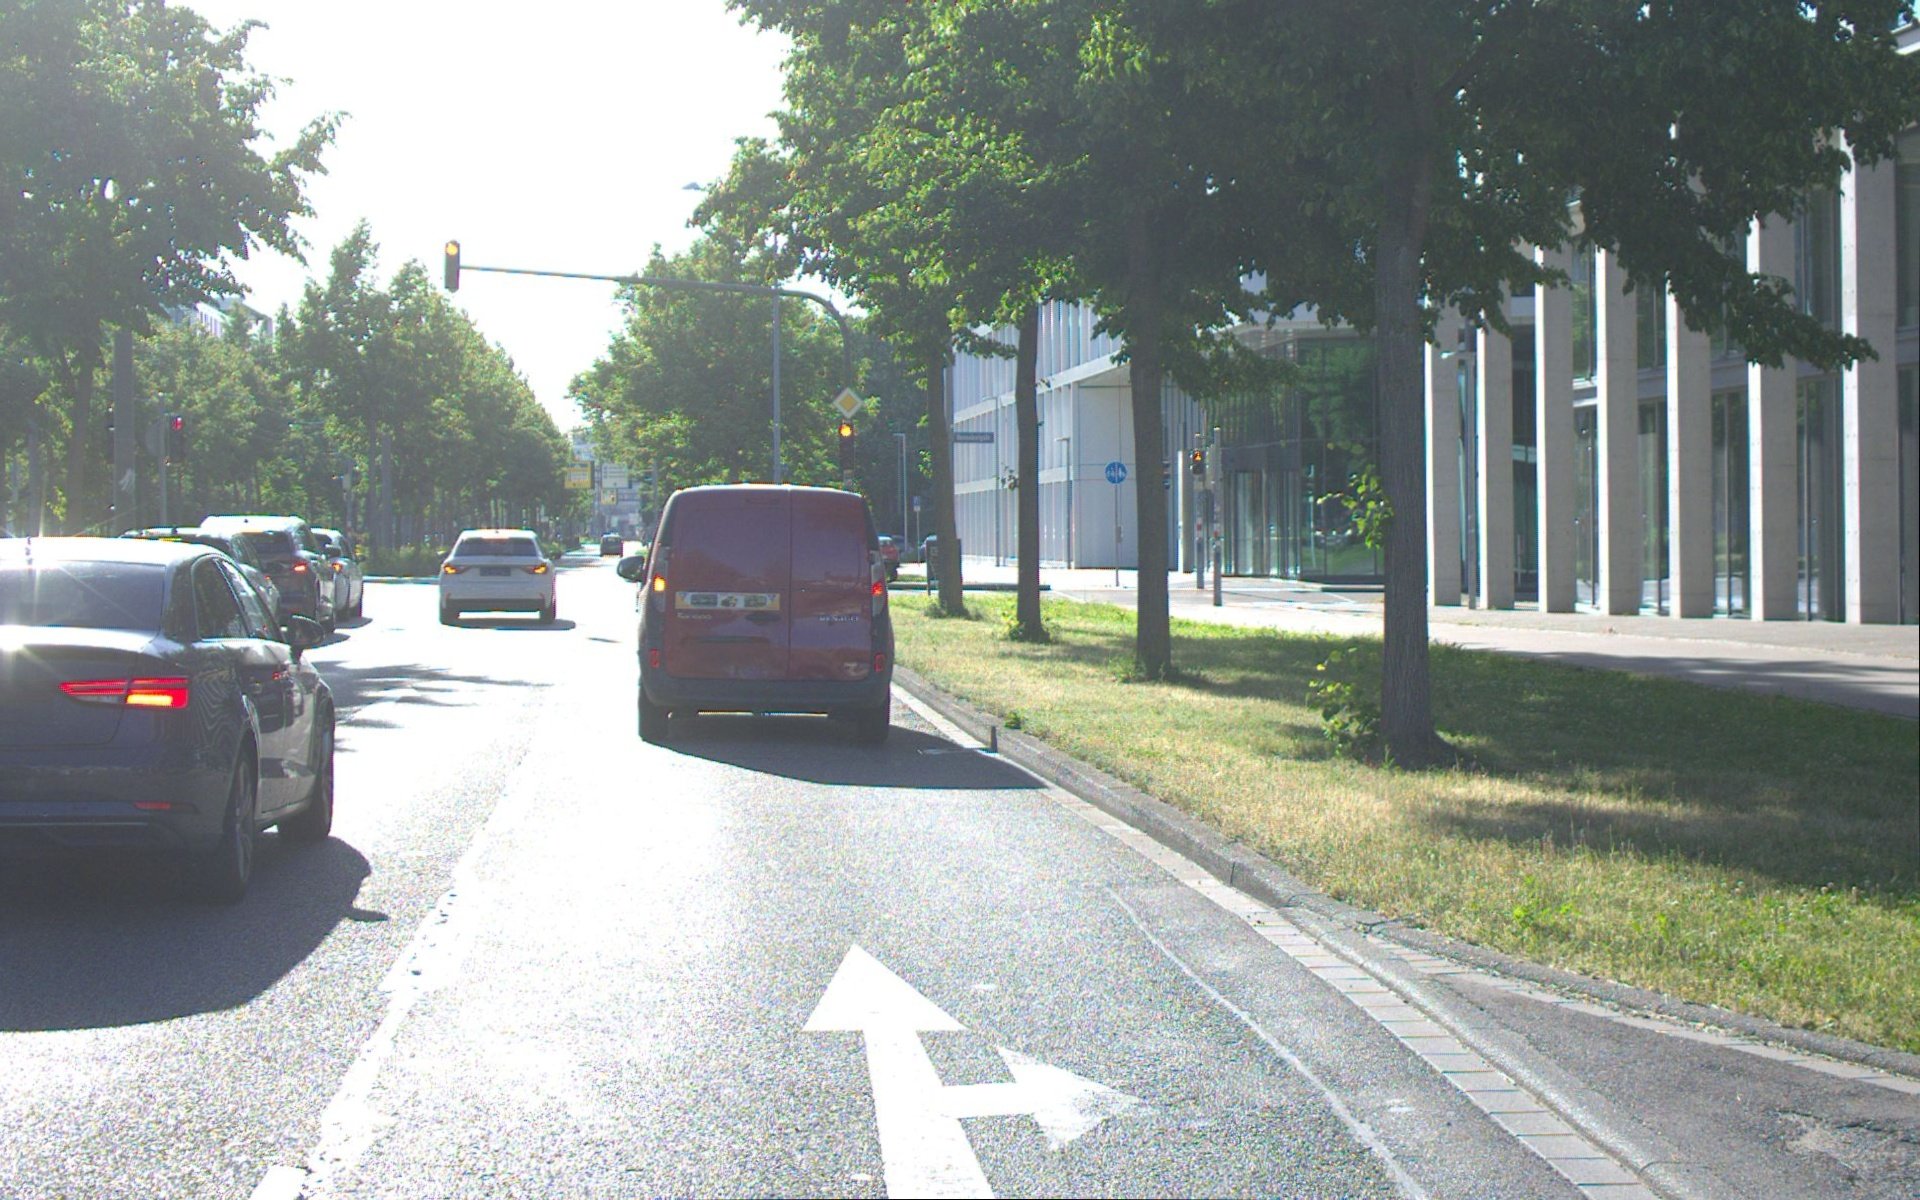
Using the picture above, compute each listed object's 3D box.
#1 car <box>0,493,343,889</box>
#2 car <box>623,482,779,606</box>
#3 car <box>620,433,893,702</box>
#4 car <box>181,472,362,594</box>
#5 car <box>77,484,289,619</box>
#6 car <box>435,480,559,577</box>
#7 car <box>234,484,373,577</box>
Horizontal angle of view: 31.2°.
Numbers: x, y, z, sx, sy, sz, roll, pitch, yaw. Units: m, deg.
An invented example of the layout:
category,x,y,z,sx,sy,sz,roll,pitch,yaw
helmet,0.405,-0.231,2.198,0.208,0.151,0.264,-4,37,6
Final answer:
category,x,y,z,sx,sy,sz,roll,pitch,yaw
car,-3.669,0.259,14.196,1.721,1.361,4.147,1,2,-3
car,-3.394,-0.758,44.537,1.720,1.420,3.818,1,3,-8
car,-1.523,-0.286,25.144,1.797,1.771,4.001,1,2,-4
car,-9.066,-0.915,45.541,1.842,1.529,3.941,0,2,-4
car,-8.696,-0.591,38.764,1.942,1.436,4.001,0,2,-7
car,-7.100,-1.134,52.989,1.720,1.420,3.818,-1,2,-5
car,-10.202,-1.112,53.635,1.715,1.393,4.001,0,2,-5
